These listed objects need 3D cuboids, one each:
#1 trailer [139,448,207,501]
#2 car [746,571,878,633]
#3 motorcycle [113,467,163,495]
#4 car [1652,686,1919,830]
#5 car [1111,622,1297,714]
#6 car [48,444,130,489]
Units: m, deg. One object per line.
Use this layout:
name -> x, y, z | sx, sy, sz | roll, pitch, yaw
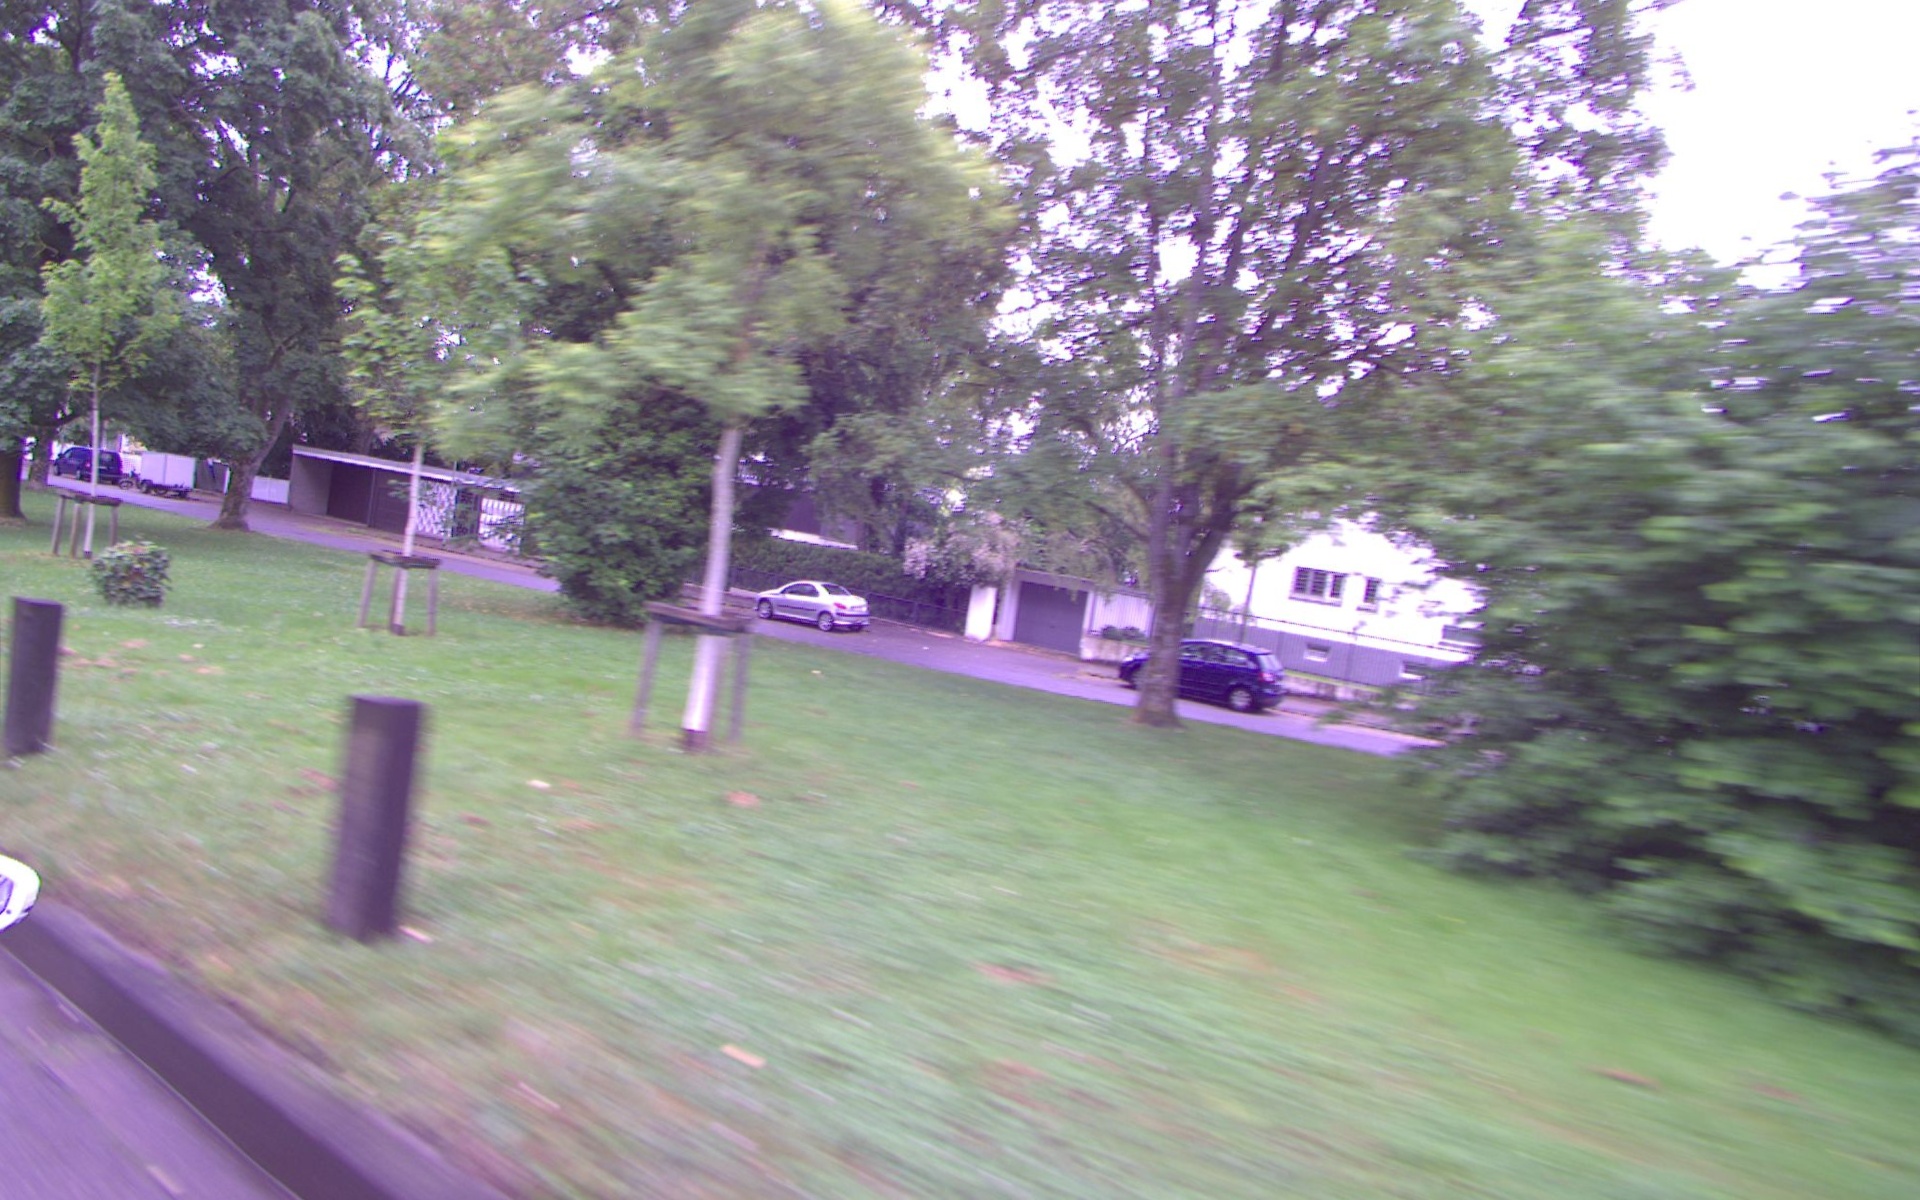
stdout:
trailer -> -39.491, -6.299, 50.451 | 2.899, 2.181, 1.439 | 9, 1, 27
car -> -4.548, 0.048, 30.790 | 3.646, 1.394, 1.682 | 8, 3, 30
motorcycle -> -42.164, -6.112, 51.630 | 1.876, 1.107, 0.651 | 8, 3, -38
car -> 16.394, 2.995, 19.101 | 4.983, 1.903, 2.162 | 8, 1, 30
car -> 6.043, 1.636, 24.980 | 3.966, 1.645, 1.904 | 8, 1, 30
car -> -47.813, -7.331, 55.196 | 4.569, 1.833, 1.942 | 10, 4, 30
